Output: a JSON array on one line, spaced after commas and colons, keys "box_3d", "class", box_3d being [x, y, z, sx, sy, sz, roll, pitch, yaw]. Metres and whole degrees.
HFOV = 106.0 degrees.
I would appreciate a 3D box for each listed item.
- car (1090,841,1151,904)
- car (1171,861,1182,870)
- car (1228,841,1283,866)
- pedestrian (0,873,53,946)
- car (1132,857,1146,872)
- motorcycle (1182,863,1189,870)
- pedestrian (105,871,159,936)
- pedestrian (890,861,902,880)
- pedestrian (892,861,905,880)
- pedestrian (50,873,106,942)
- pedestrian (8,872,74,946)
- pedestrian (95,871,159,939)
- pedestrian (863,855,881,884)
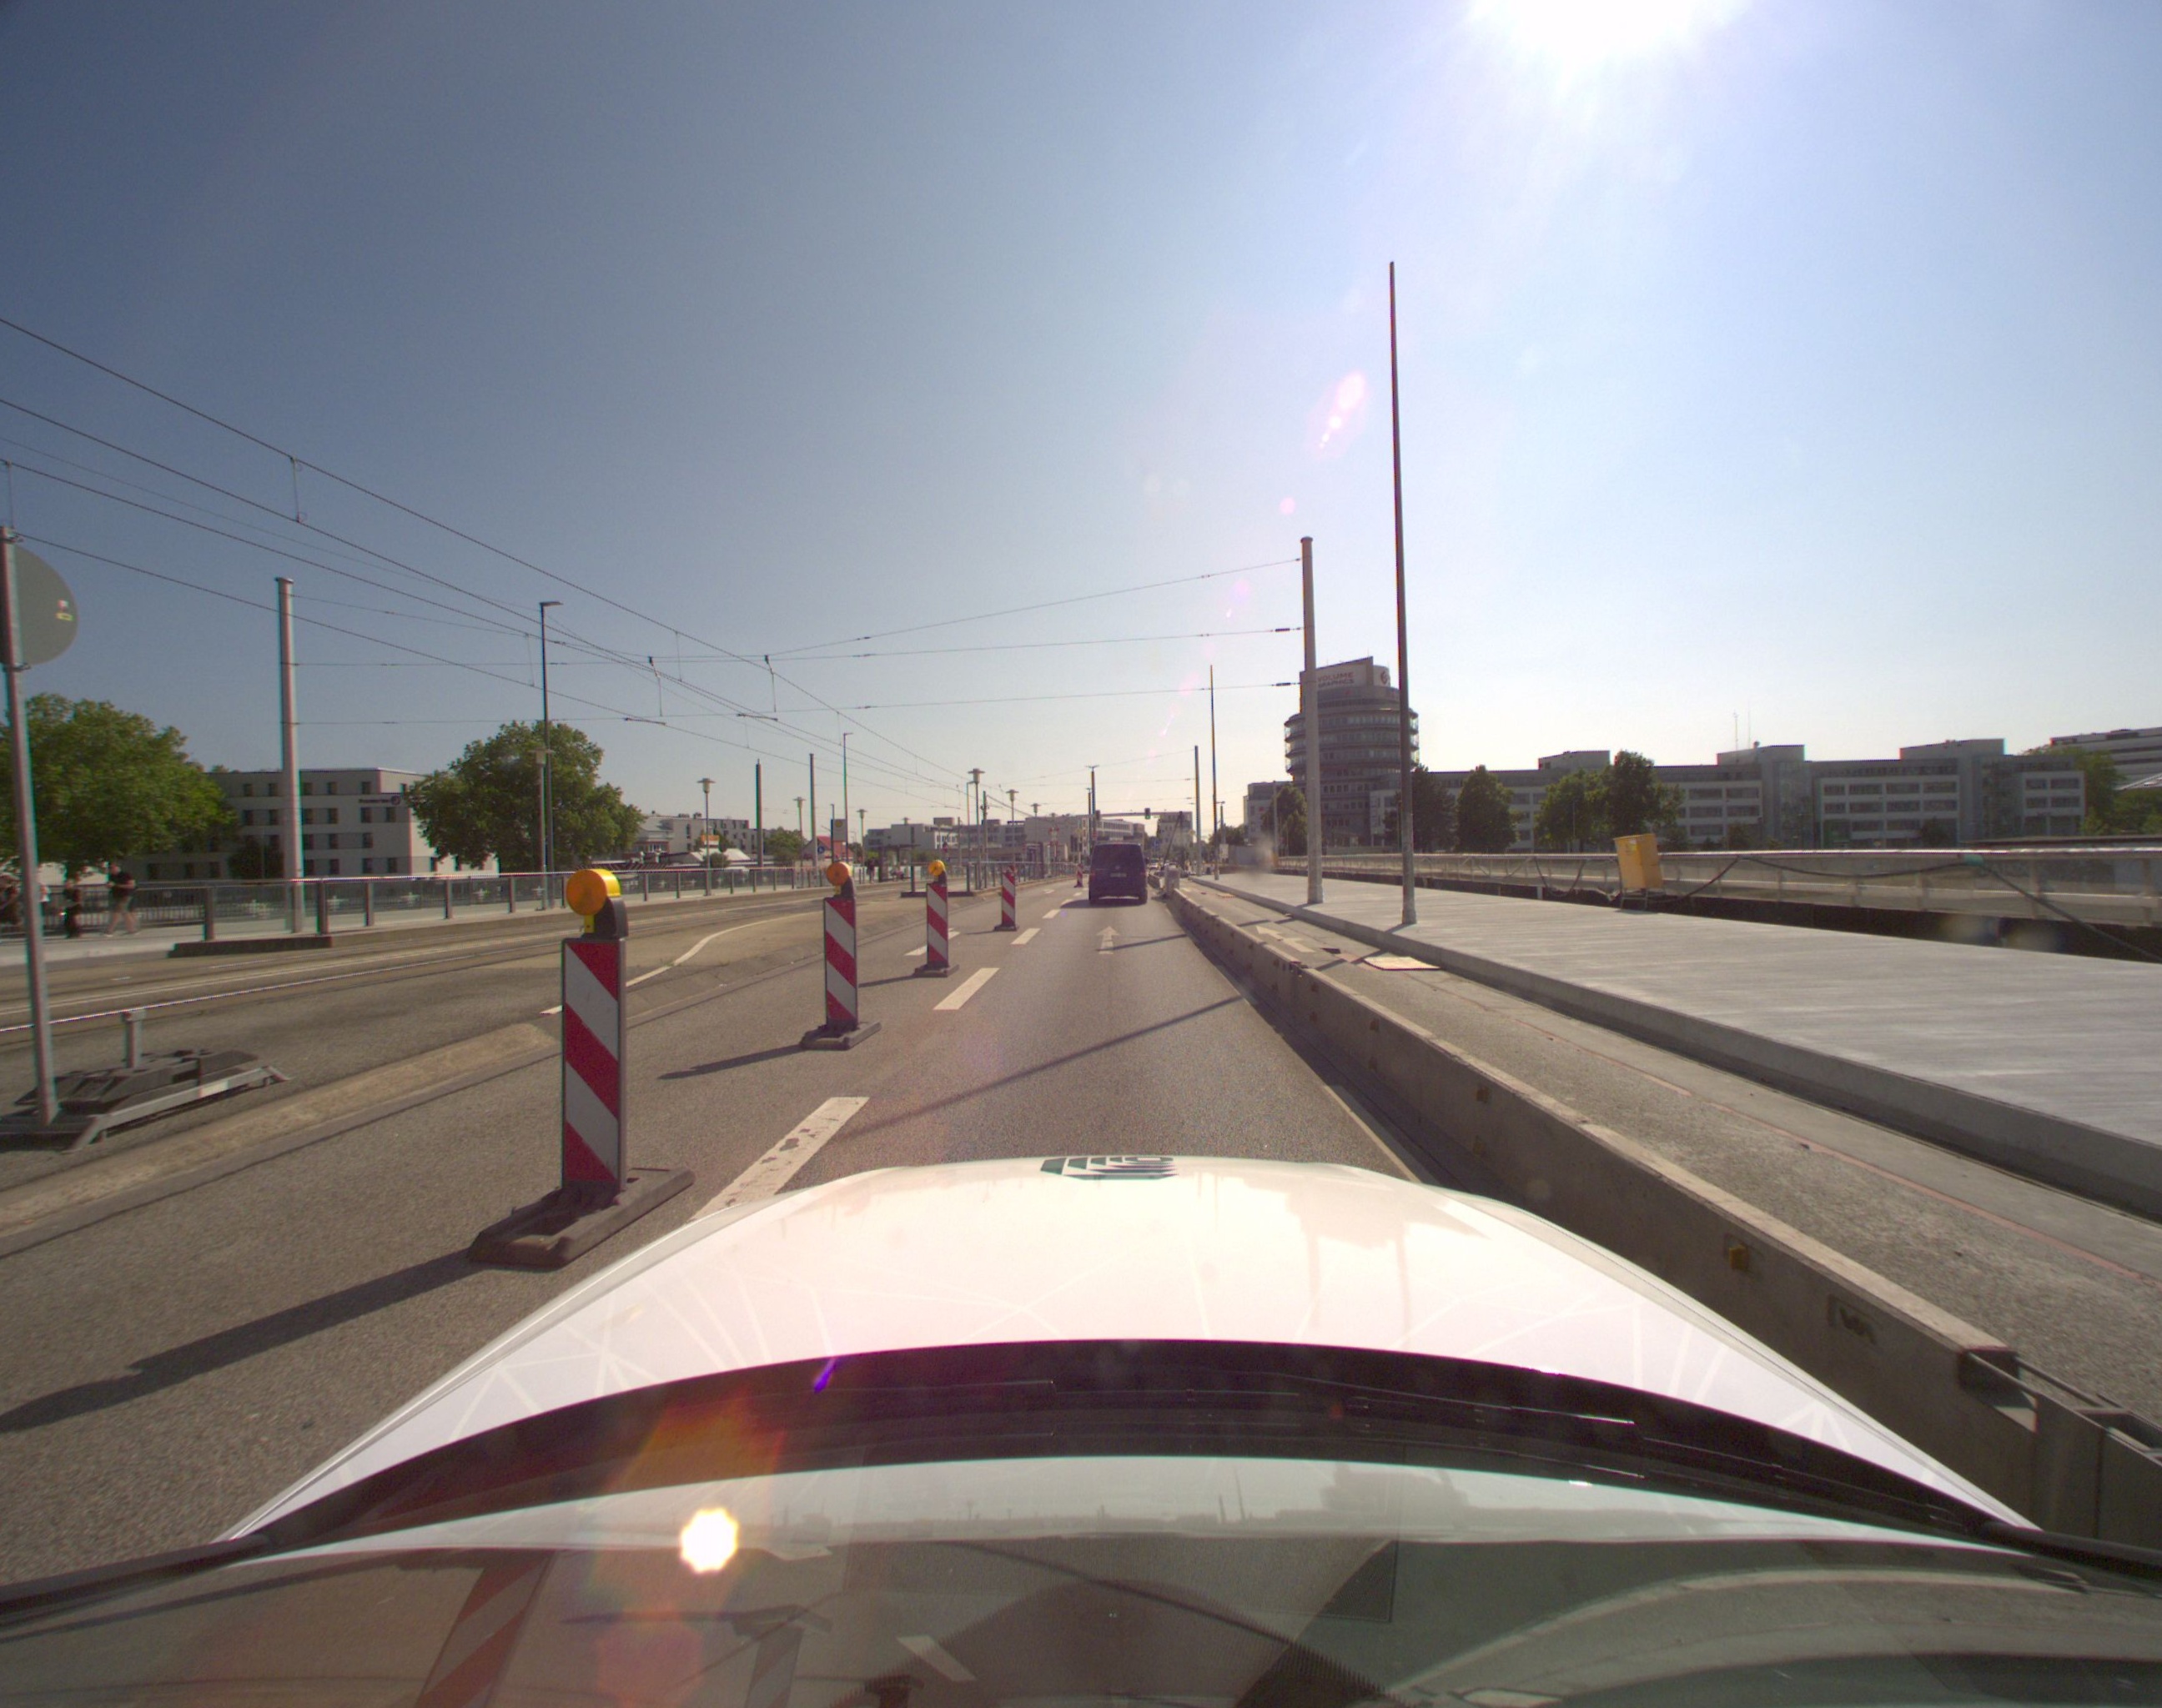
[{"box_3d": [1.309, 0.555, 27.179, 1.880, 1.934, 4.002, 0, 0, 2], "class": "car"}, {"box_3d": [16.513, 1.987, 141.236, 1.735, 1.475, 3.891, -1, -1, 6], "class": "car"}, {"box_3d": [20.639, -0.094, 96.552, 5.953, 2.887, 2.338, 0, 0, -11], "class": "car"}, {"box_3d": [-25.518, 1.322, 19.535, 0.595, 1.687, 0.818, -2, 0, 4], "class": "pedestrian"}, {"box_3d": [7.138, 1.250, 100.346, 1.637, 1.728, 3.722, 0, 0, 5], "class": "car"}, {"box_3d": [22.860, 2.729, 177.999, 1.154, 1.242, 3.017, 1, 1, 12], "class": "motorcycle"}, {"box_3d": [-25.776, 1.326, 22.123, 0.501, 1.687, 0.773, -2, 0, 4], "class": "pedestrian"}, {"box_3d": [-12.284, 1.107, 53.977, 0.645, 1.274, 0.454, -1, -1, 6], "class": "pedestrian"}, {"box_3d": [-12.214, 1.105, 54.561, 0.645, 1.274, 0.698, -1, -1, 6], "class": "pedestrian"}, {"box_3d": [-25.240, 1.331, 20.501, 0.382, 1.687, 0.771, -2, 0, 4], "class": "pedestrian"}, {"box_3d": [-24.897, 1.301, 19.506, 0.484, 1.687, 0.809, -2, 0, 4], "class": "pedestrian"}, {"box_3d": [-24.574, 1.308, 20.988, 0.749, 1.687, 0.732, -2, 0, 3], "class": "pedestrian"}, {"box_3d": [-12.075, 0.887, 47.016, 0.655, 1.654, 0.742, -1, 0, 14], "class": "pedestrian"}]
